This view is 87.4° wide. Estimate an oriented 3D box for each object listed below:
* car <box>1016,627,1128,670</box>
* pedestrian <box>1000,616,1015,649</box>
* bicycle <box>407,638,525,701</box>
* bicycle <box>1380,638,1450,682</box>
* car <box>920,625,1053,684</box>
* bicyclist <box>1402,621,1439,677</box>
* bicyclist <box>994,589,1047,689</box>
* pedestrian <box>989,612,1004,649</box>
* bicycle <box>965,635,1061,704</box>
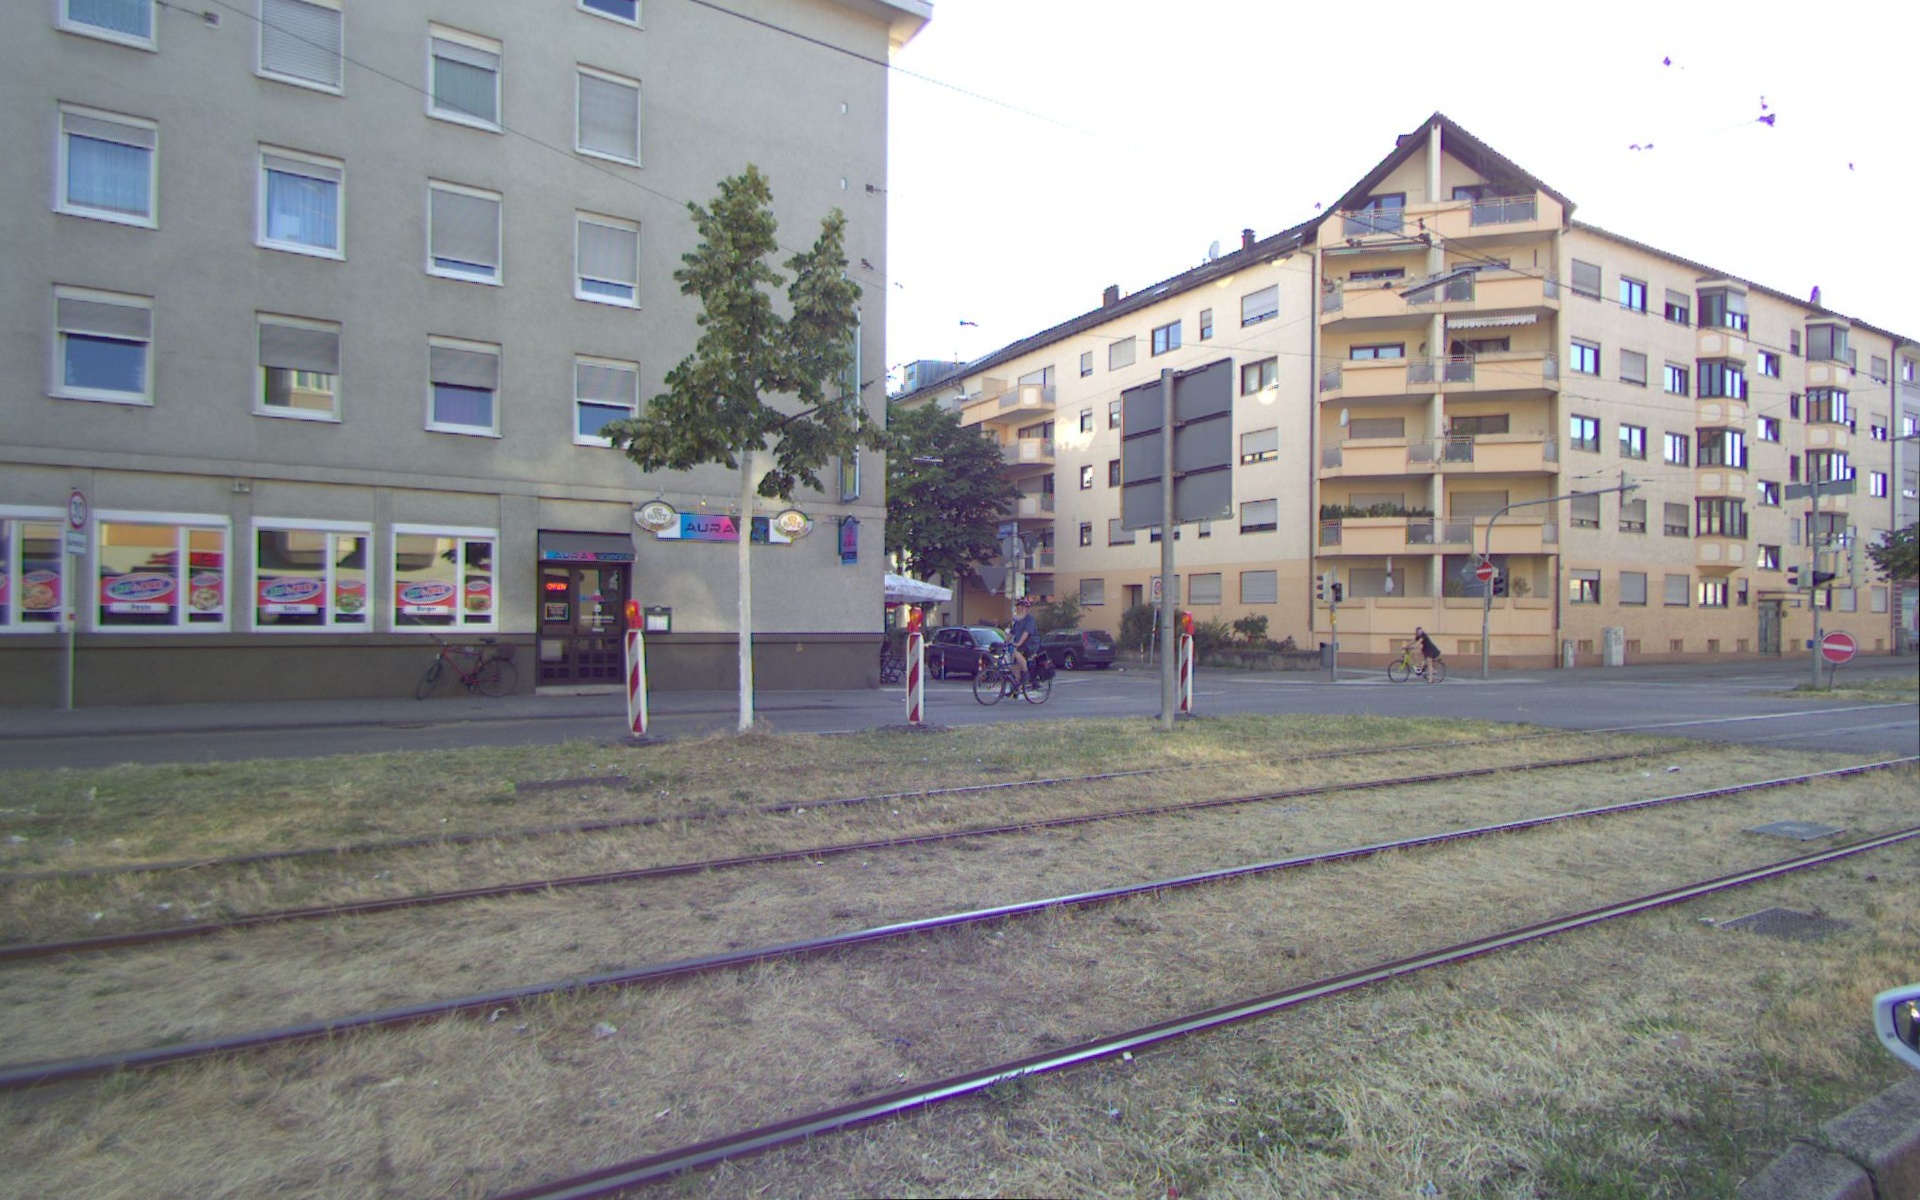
[{"bbox_3d":[4.149,1.770,37.569,1.982,1.462,3.957,-1,0,-38],"label":"car"},{"bbox_3d":[2.253,1.547,47.897,0.509,1.573,0.547,2,0,-24],"label":"pedestrian"},{"bbox_3d":[-8.695,1.217,17.706,1.823,1.037,0.605,2,0,-31],"label":"bicycle"},{"bbox_3d":[13.300,1.746,29.381,1.833,1.274,0.457,0,0,3],"label":"bicycle"},{"bbox_3d":[0.766,1.637,31.470,1.982,1.645,4.154,-1,0,-37],"label":"car"},{"bbox_3d":[13.460,1.419,29.379,0.793,1.607,0.628,0,0,4],"label":"bicyclist"},{"bbox_3d":[1.181,0.747,19.569,0.797,1.908,0.650,1,1,-21],"label":"bicyclist"},{"bbox_3d":[1.725,1.451,47.666,0.456,1.727,0.589,2,0,-24],"label":"pedestrian"},{"bbox_3d":[1.034,1.333,19.528,1.842,1.274,0.454,0,0,-21],"label":"bicycle"}]
